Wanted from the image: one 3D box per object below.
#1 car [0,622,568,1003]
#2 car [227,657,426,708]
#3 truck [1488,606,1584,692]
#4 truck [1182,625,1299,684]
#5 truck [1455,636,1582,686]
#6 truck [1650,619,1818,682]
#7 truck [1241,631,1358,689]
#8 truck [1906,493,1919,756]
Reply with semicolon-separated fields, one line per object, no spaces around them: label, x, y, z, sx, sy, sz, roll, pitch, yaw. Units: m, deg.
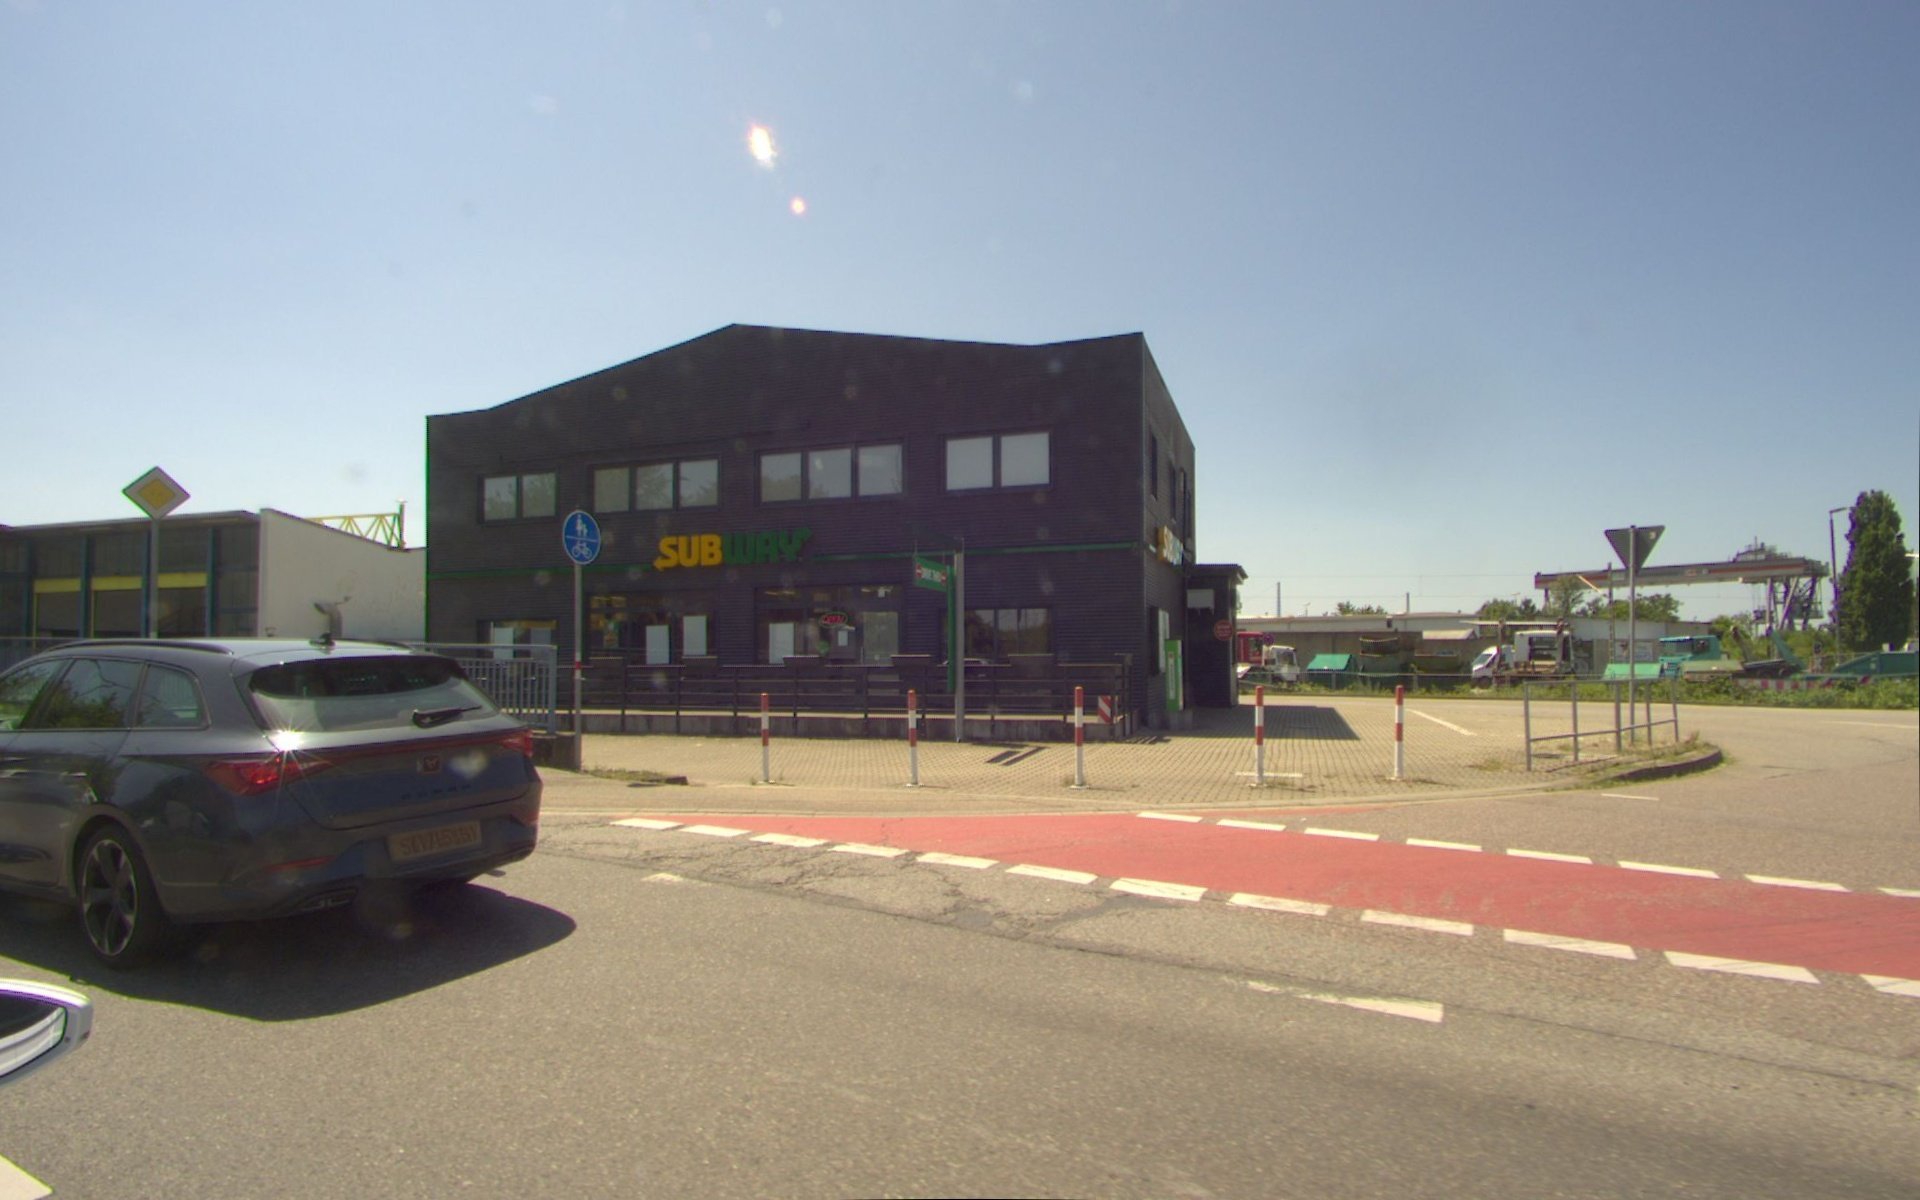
car;-4.301;0.889;5.549;4.168;1.474;1.605;-1;-2;27
car;-19.299;2.468;30.741;5.013;1.375;1.989;1;-2;-32
truck;25.234;2.130;43.689;2.688;3.423;7.354;-1;-3;37
truck;15.245;2.946;54.780;5.995;3.133;2.651;-1;-2;12
truck;32.824;3.565;59.003;5.991;2.825;2.652;0;-2;0
truck;43.230;2.816;56.074;7.411;3.411;2.804;0;-2;-4
truck;19.151;3.374;56.856;5.995;3.133;2.651;-1;-2;12
truck;18.148;0.407;16.508;5.689;4.154;2.560;1;-2;-35
